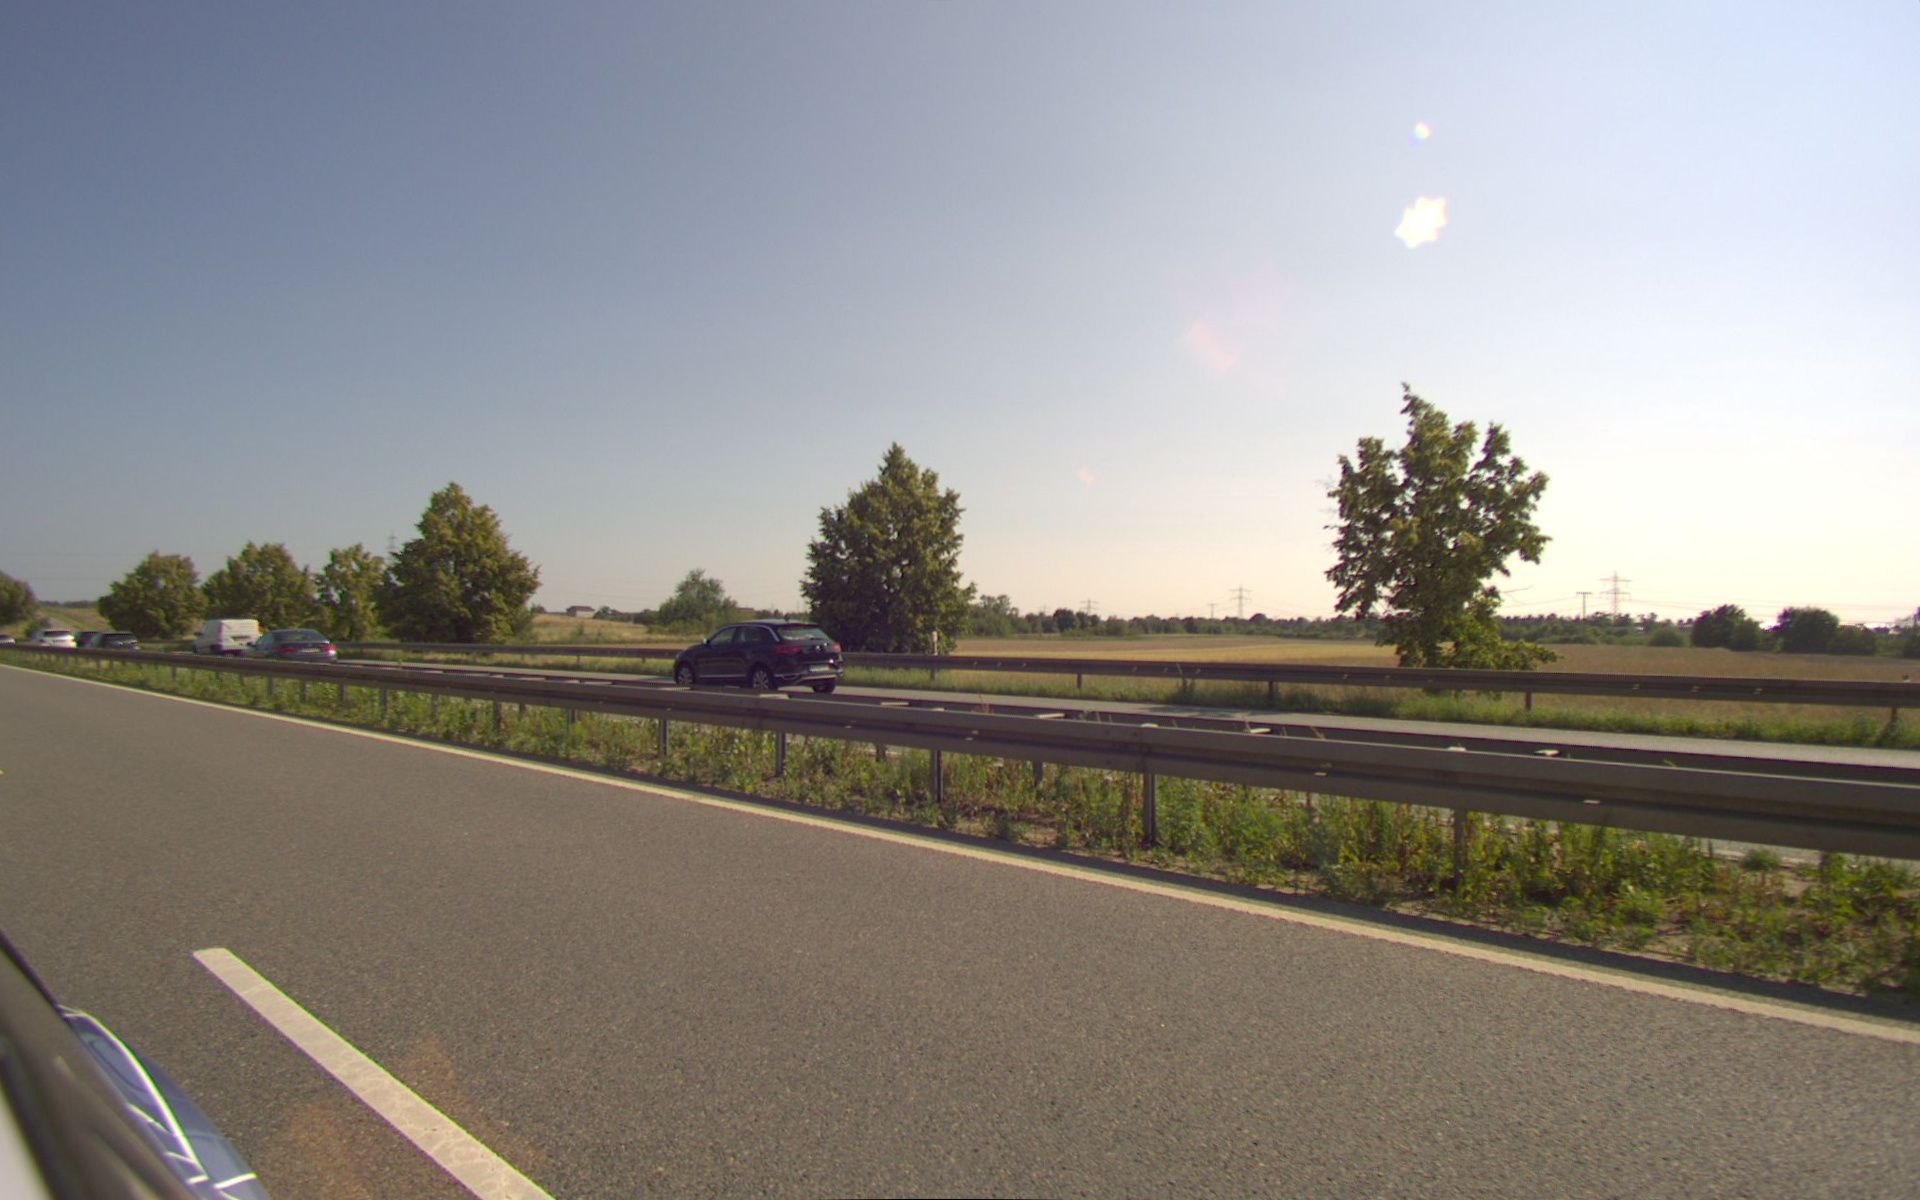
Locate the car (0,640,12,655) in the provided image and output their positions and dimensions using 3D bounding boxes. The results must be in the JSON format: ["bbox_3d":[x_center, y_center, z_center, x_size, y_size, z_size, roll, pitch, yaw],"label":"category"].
[{"bbox_3d":[-94.777,4.689,99.564,3.934,1.448,1.674,-2,-2,38],"label":"car"}]

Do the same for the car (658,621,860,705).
[{"bbox_3d":[-4.253,1.222,20.986,4.452,1.553,1.794,-1,-2,42],"label":"car"}]

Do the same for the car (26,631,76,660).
[{"bbox_3d":[-56.526,2.821,62.907,4.719,1.677,1.820,-1,-1,42],"label":"car"}]

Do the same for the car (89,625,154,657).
[{"bbox_3d":[-41.259,2.010,49.746,4.035,1.457,1.820,-2,0,41],"label":"car"}]

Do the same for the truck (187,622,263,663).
[{"bbox_3d":[-36.098,2.083,49.644,5.289,1.854,1.902,-3,-2,41],"label":"truck"}]

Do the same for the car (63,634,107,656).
[{"bbox_3d":[-63.740,3.272,73.686,4.456,1.483,1.820,-2,-2,41],"label":"car"}]

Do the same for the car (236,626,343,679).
[{"bbox_3d":[-21.209,1.608,31.938,4.453,1.553,1.793,-1,-2,42],"label":"car"}]
